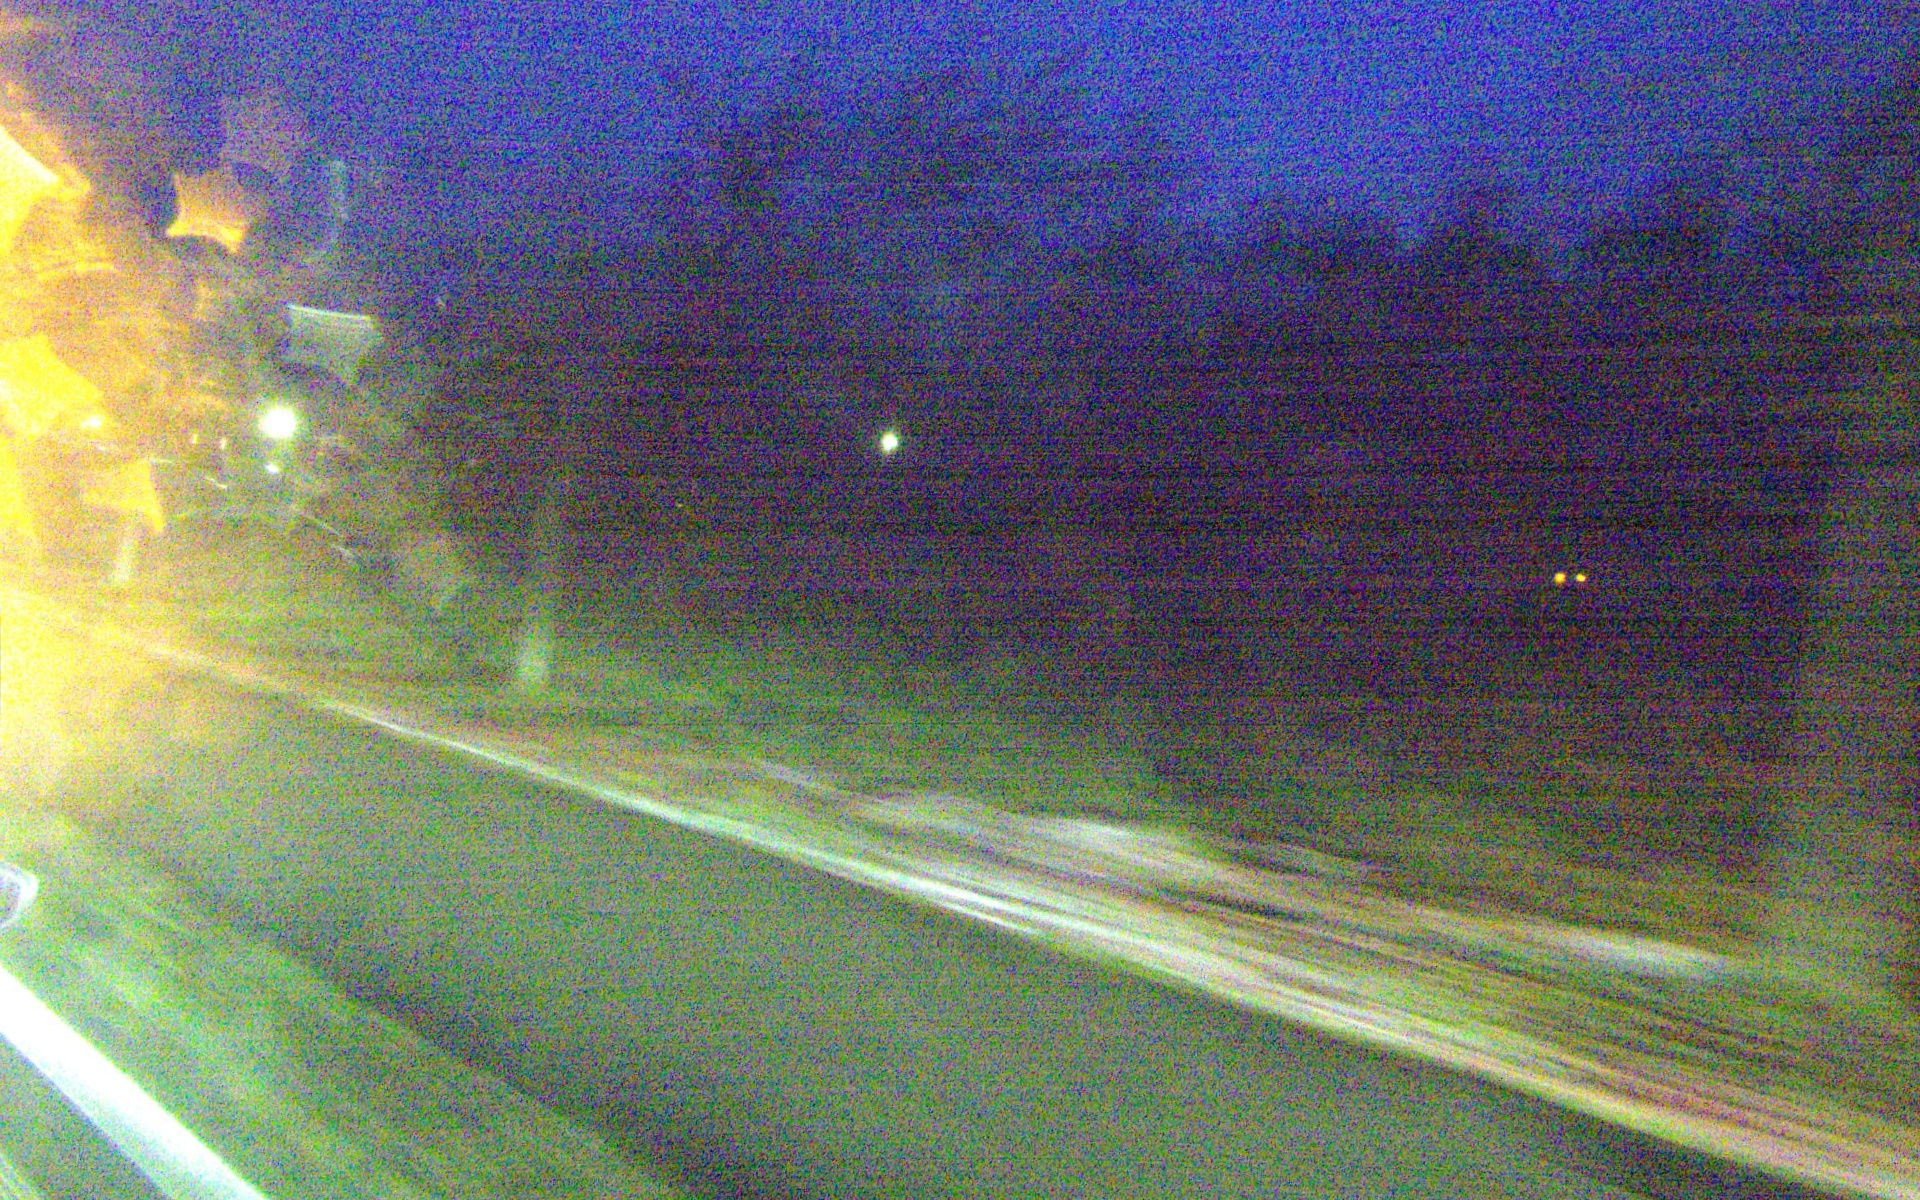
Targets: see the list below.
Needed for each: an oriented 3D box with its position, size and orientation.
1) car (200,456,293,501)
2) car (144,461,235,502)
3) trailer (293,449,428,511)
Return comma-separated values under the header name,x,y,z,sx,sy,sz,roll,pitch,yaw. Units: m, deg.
name,x,y,z,sx,sy,sz,roll,pitch,yaw
car,-34.817,-5.927,49.098,3.925,1.659,1.619,7,-1,19
car,-38.755,-5.952,50.621,3.925,1.490,1.619,7,-1,19
trailer,-27.744,-5.560,46.570,5.615,2.096,2.233,7,-1,21
